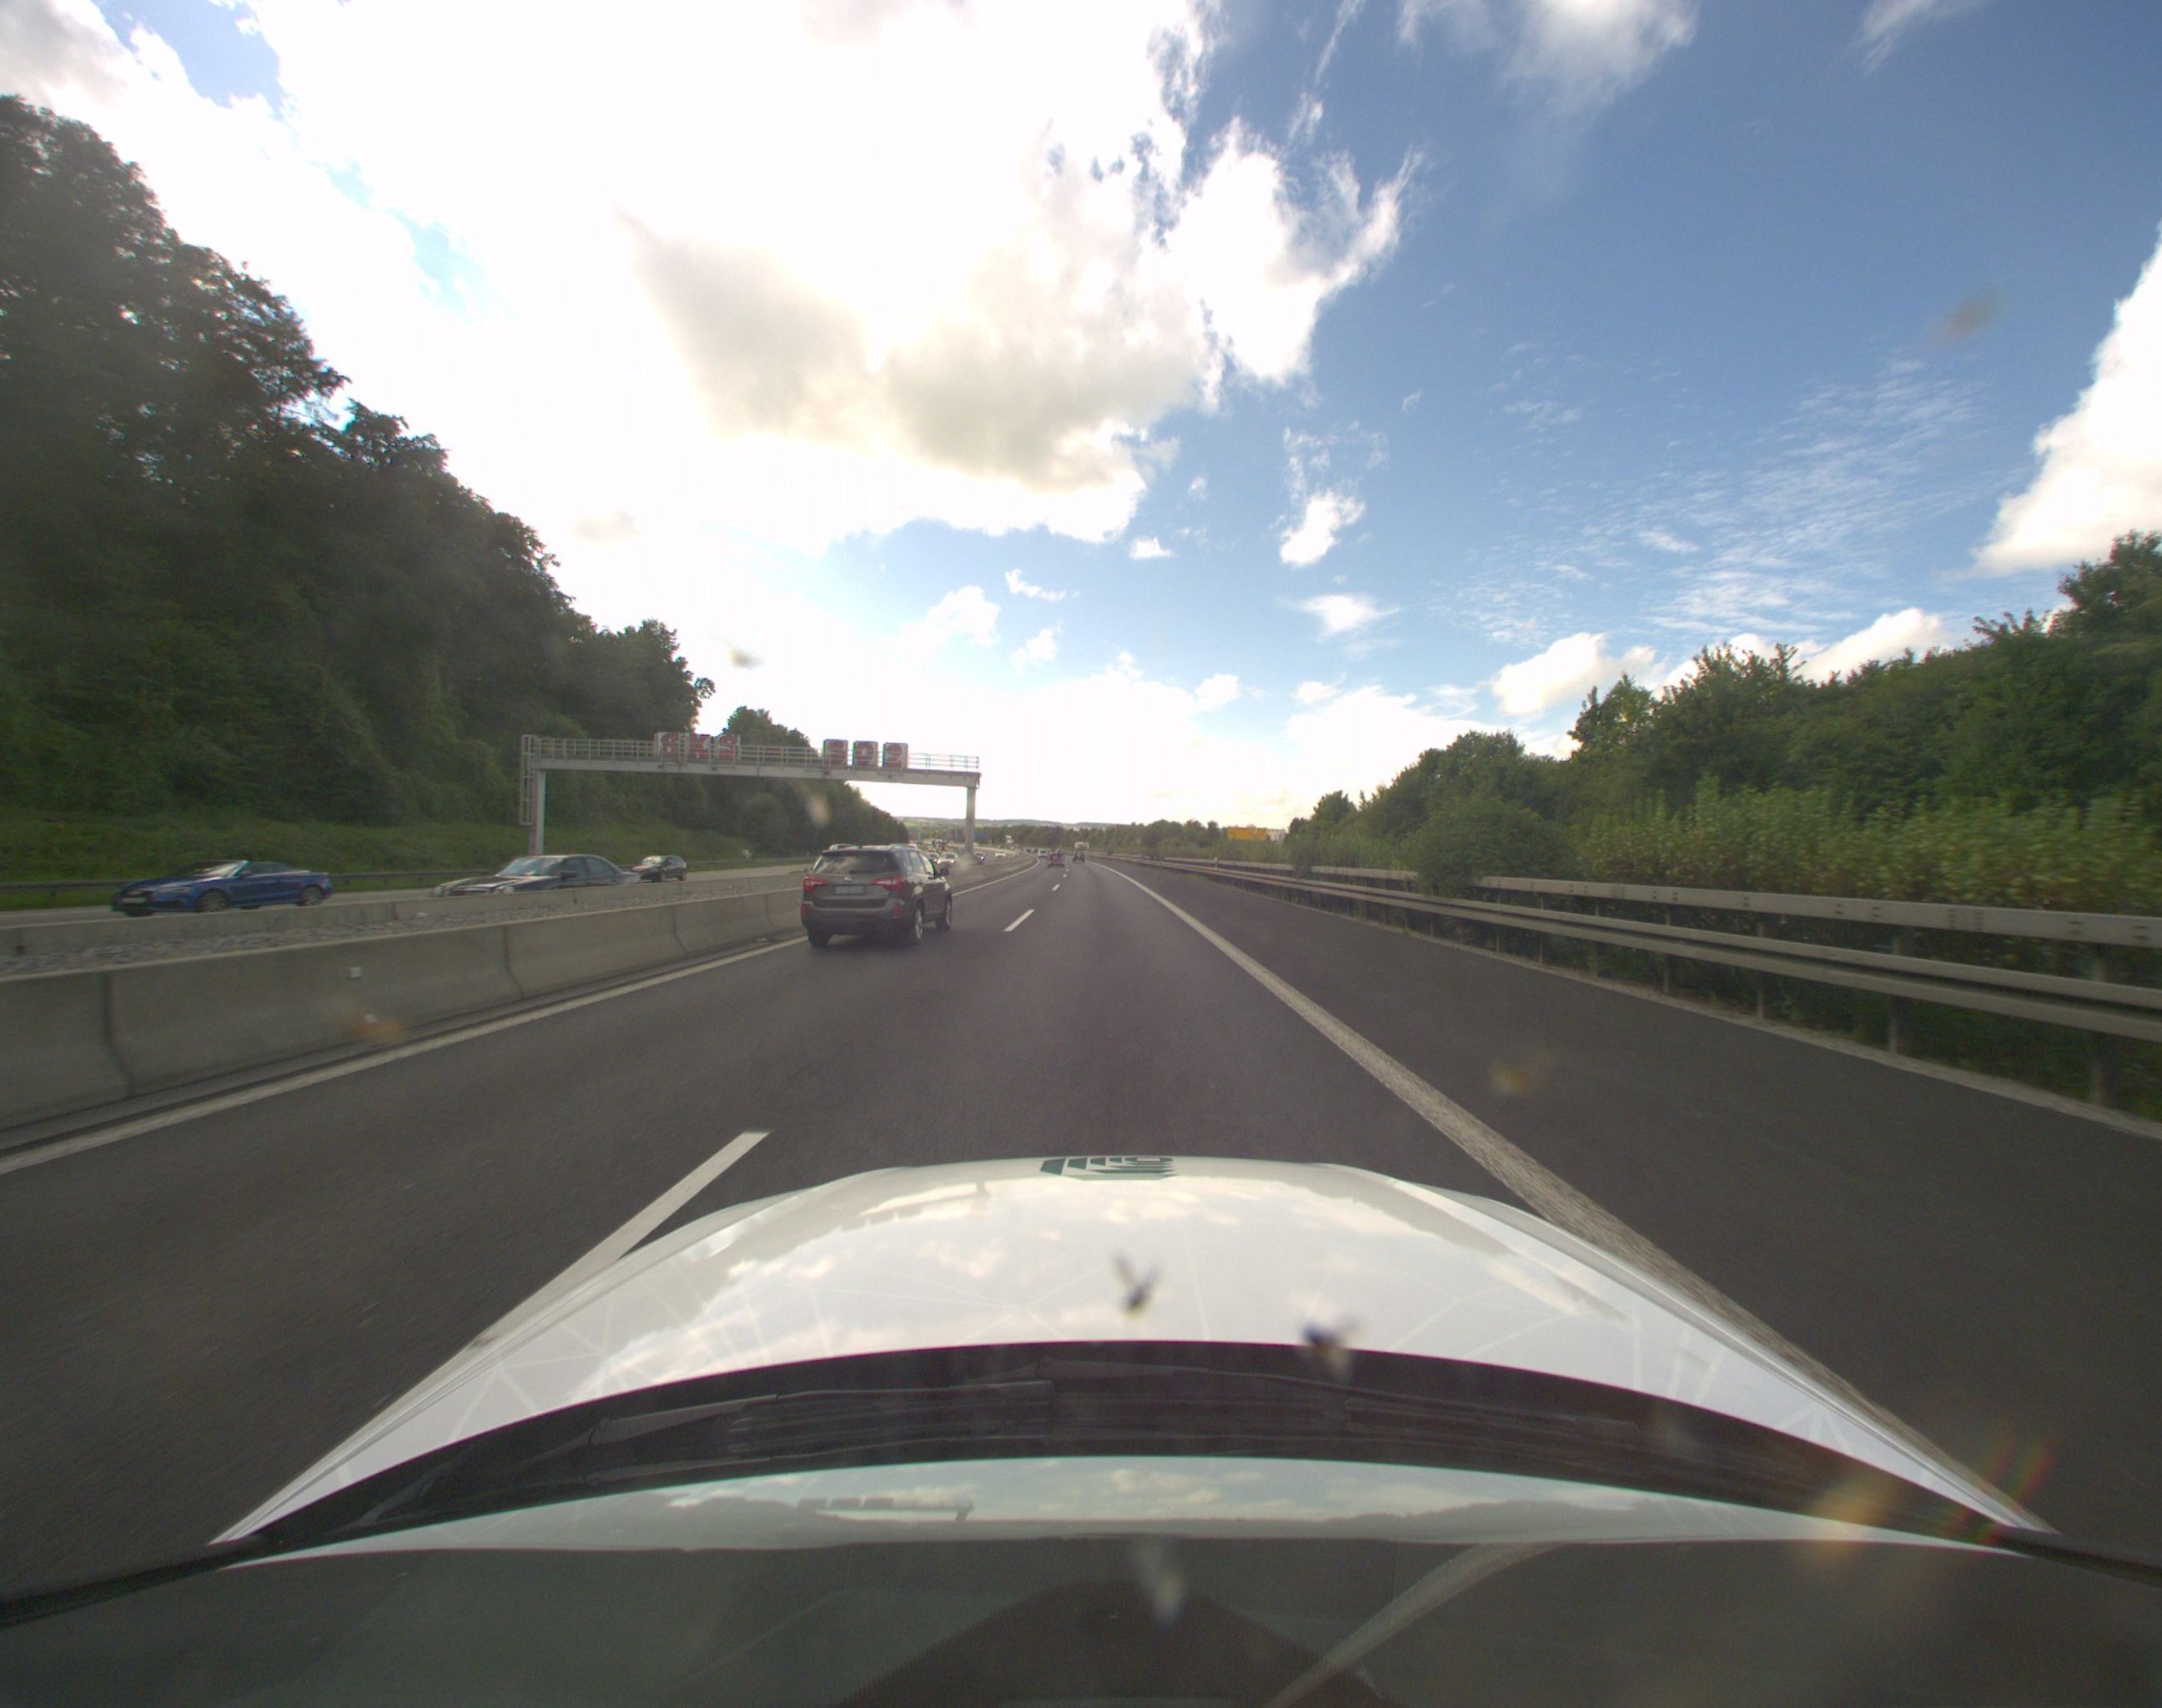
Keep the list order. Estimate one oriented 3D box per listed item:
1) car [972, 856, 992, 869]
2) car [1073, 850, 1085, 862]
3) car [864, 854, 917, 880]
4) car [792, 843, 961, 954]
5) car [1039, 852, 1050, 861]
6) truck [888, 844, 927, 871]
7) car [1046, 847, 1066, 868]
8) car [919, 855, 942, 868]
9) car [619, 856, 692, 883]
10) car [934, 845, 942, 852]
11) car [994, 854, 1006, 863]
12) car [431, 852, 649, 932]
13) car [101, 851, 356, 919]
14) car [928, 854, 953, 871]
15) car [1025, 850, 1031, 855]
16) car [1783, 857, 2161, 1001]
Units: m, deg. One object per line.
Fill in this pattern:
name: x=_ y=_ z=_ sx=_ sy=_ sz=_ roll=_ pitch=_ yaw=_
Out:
car: x=-12.421 y=1.047 z=101.954 sx=1.987 sy=1.641 sz=4.000 roll=0 pitch=0 yaw=0
car: x=-0.301 y=0.261 z=115.393 sx=1.583 sy=1.597 sz=4.091 roll=0 pitch=0 yaw=-3
car: x=-11.879 y=0.791 z=51.209 sx=1.986 sy=1.536 sz=5.286 roll=0 pitch=0 yaw=1
car: x=-3.596 y=0.697 z=15.387 sx=1.811 sy=1.736 sz=5.187 roll=0 pitch=0 yaw=1
car: x=-7.307 y=0.450 z=163.371 sx=1.990 sy=1.684 sz=3.993 roll=0 pitch=-1 yaw=-5
truck: x=-15.180 y=0.293 z=71.580 sx=2.176 sy=2.226 sz=5.572 roll=0 pitch=0 yaw=1
car: x=-2.647 y=0.350 z=88.118 sx=2.024 sy=2.151 sz=4.000 roll=0 pitch=1 yaw=0
car: x=-16.368 y=0.829 z=88.686 sx=1.660 sy=1.395 sz=4.600 roll=0 pitch=0 yaw=0
car: x=-22.517 y=0.784 z=43.267 sx=1.818 sy=1.311 sz=4.184 roll=0 pitch=0 yaw=-2
car: x=-42.025 y=-1.683 z=239.075 sx=1.989 sy=2.013 sz=3.996 roll=0 pitch=0 yaw=-3
car: x=-15.129 y=0.862 z=152.504 sx=1.759 sy=1.581 sz=4.930 roll=0 pitch=0 yaw=-1
car: x=-11.548 y=0.732 z=17.845 sx=1.693 sy=1.539 sz=4.501 roll=0 pitch=0 yaw=1
car: x=-21.880 y=0.722 z=21.243 sx=1.798 sy=1.574 sz=4.559 roll=0 pitch=0 yaw=1
car: x=-12.442 y=0.747 z=72.205 sx=1.560 sy=1.450 sz=3.887 roll=0 pitch=0 yaw=0
car: x=-17.059 y=-0.564 z=260.830 sx=1.604 sy=1.558 sz=3.988 roll=0 pitch=-1 yaw=-8
car: x=12.400 y=0.816 z=10.934 sx=1.780 sy=1.519 sz=4.670 roll=0 pitch=0 yaw=-4
